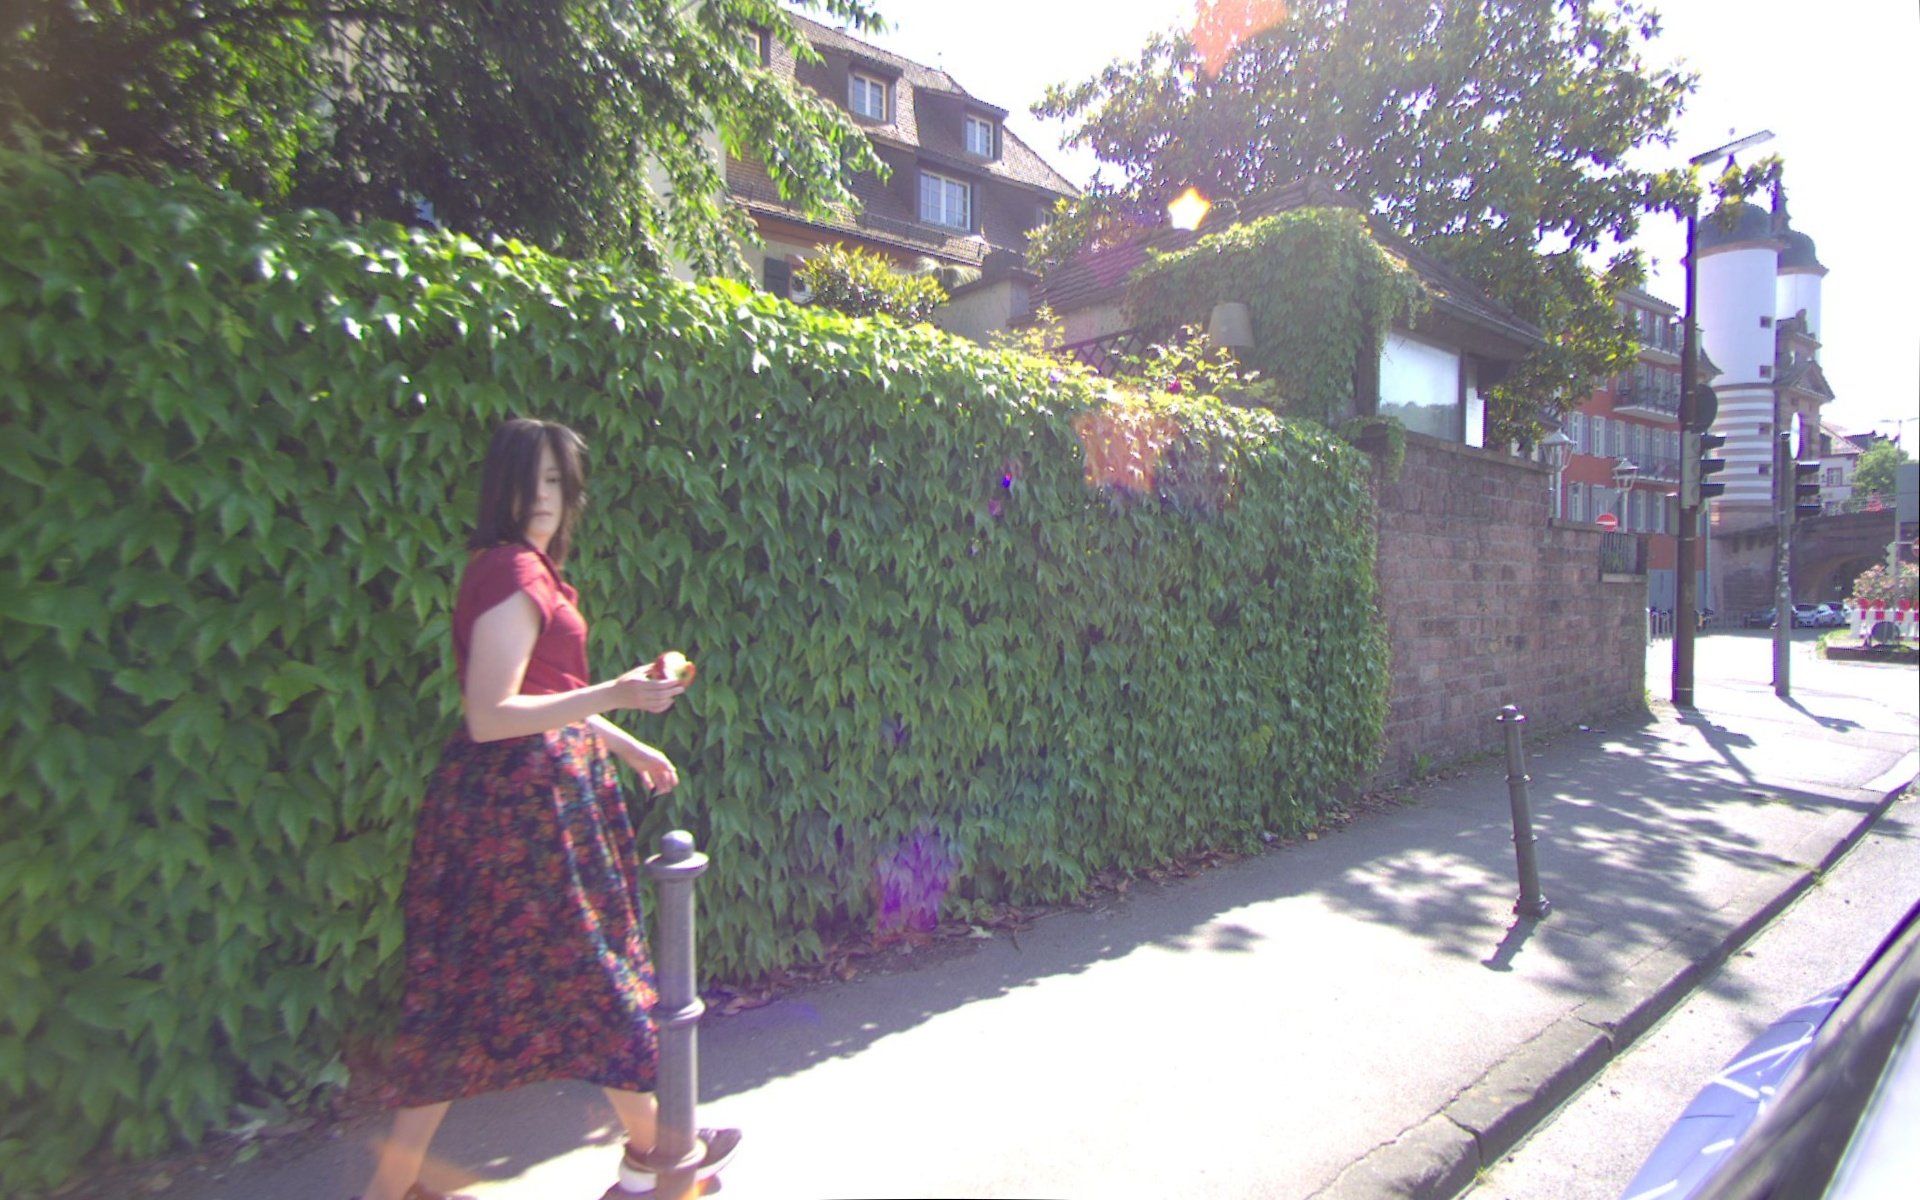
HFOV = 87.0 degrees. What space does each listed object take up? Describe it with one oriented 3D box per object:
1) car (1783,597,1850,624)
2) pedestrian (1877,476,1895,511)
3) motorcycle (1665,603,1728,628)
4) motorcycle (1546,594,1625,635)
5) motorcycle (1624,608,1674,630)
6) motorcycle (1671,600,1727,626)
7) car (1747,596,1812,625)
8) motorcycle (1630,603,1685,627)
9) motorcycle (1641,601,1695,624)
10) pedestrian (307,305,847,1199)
[{"bbox_3d":[51.824,0.610,61.187,4.331,1.511,1.901,-1,3,-33],"label":"car"},{"bbox_3d":[56.314,-6.462,61.544,0.694,2.038,0.641,-1,2,-35],"label":"pedestrian"},{"bbox_3d":[38.408,0.809,52.793,2.504,1.249,0.839,1,1,12],"label":"motorcycle"},{"bbox_3d":[25.377,0.564,41.102,2.461,1.552,1.049,1,1,15],"label":"motorcycle"},{"bbox_3d":[33.186,0.932,48.770,1.900,0.999,0.546,1,1,9],"label":"motorcycle"},{"bbox_3d":[37.684,0.633,51.649,2.120,1.249,0.839,1,1,12],"label":"motorcycle"},{"bbox_3d":[47.712,0.579,58.881,3.734,1.562,1.679,-1,1,-29],"label":"car"},{"bbox_3d":[34.361,0.734,49.873,2.161,1.162,0.627,1,1,9],"label":"motorcycle"},{"bbox_3d":[35.518,0.619,50.796,2.161,1.089,0.627,1,1,9],"label":"motorcycle"},{"bbox_3d":[-0.827,0.400,2.188,0.896,1.764,0.682,1,1,-38],"label":"pedestrian"}]
